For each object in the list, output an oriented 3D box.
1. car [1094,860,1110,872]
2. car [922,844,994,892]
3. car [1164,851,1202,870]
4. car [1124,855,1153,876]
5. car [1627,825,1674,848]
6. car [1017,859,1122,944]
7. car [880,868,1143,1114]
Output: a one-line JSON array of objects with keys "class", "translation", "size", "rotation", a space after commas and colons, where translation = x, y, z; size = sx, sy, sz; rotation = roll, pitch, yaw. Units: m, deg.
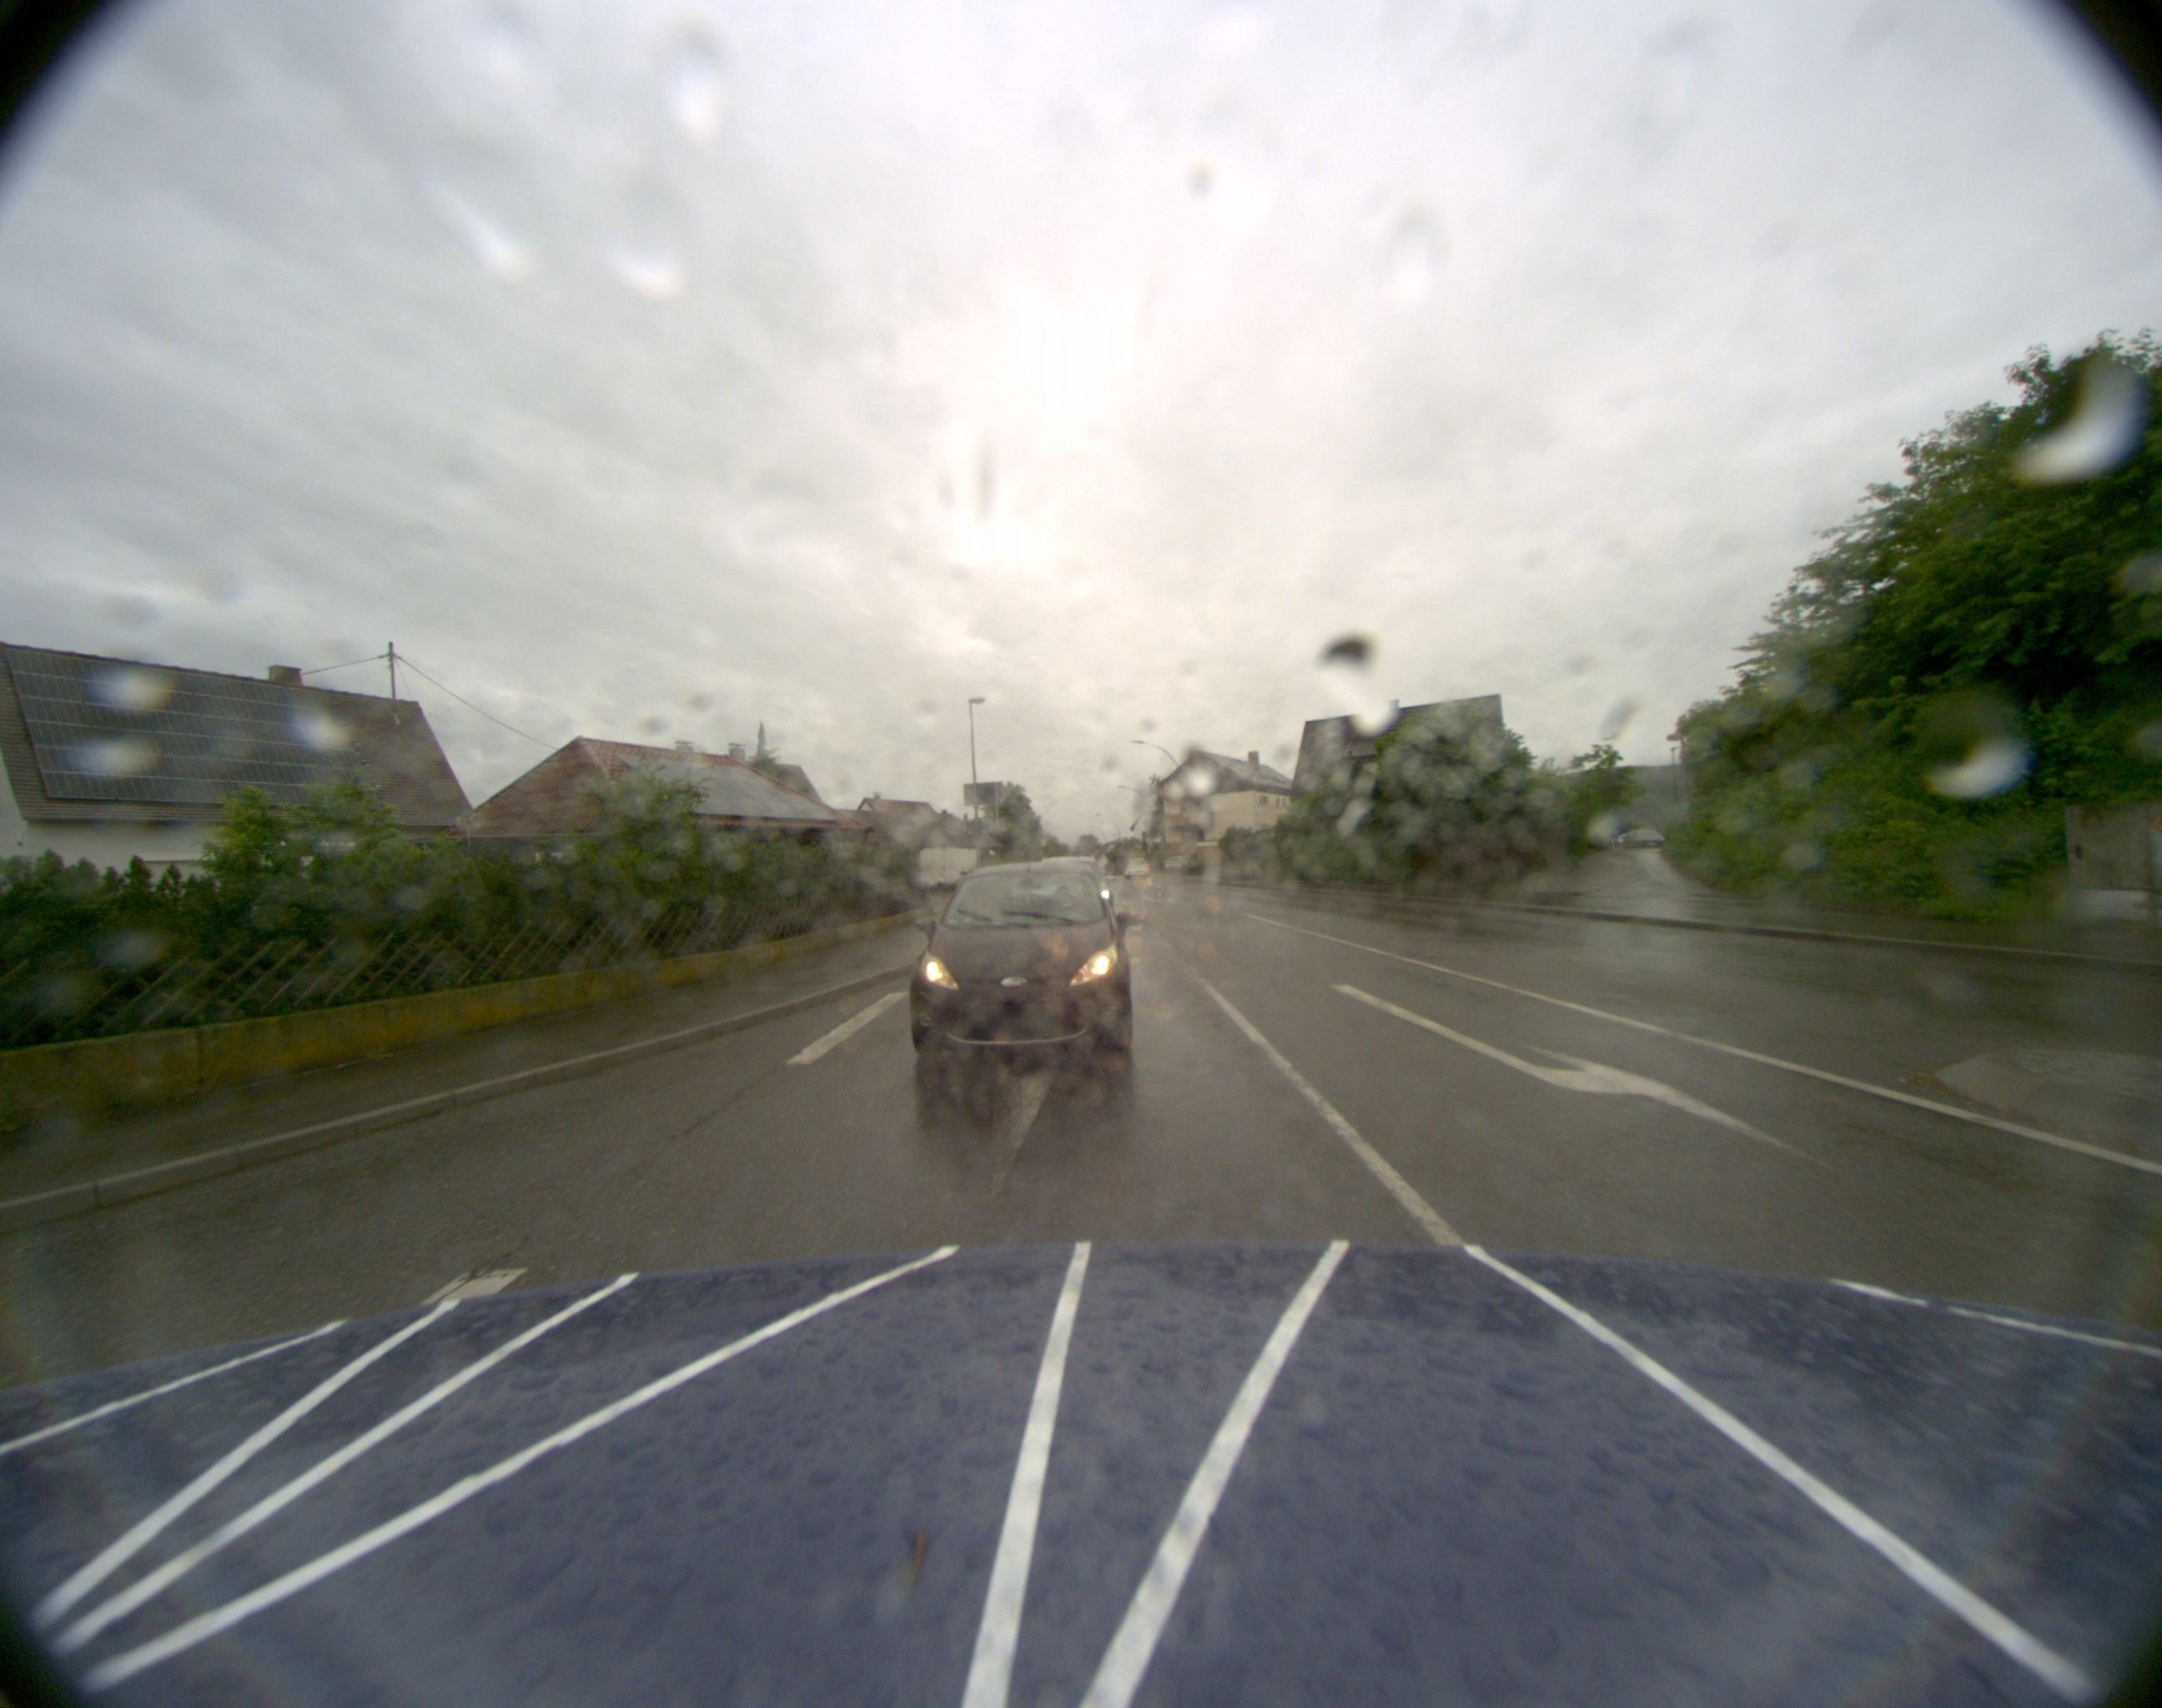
[{"class": "car", "translation": [2.934, 1.702, 106.346], "size": [1.669, 1.496, 4.319], "rotation": [-3, 1, -6]}, {"class": "car", "translation": [-6.574, 0.704, 40.894], "size": [1.650, 2.337, 4.006], "rotation": [-2, 1, 27]}, {"class": "car", "translation": [9.282, 0.541, 68.963], "size": [1.661, 1.538, 4.007], "rotation": [-1, 1, 35]}, {"class": "car", "translation": [4.431, 0.854, 58.970], "size": [1.625, 1.496, 3.820], "rotation": [-1, 0, -5]}, {"class": "car", "translation": [41.118, -1.241, 54.957], "size": [1.895, 1.474, 4.006], "rotation": [-2, 0, 24]}, {"class": "car", "translation": [-0.284, 0.895, 16.082], "size": [1.899, 1.474, 3.999], "rotation": [-2, 0, -2]}, {"class": "car", "translation": [-0.487, 0.938, 6.955], "size": [1.666, 1.410, 3.931], "rotation": [-2, 1, -1]}]
